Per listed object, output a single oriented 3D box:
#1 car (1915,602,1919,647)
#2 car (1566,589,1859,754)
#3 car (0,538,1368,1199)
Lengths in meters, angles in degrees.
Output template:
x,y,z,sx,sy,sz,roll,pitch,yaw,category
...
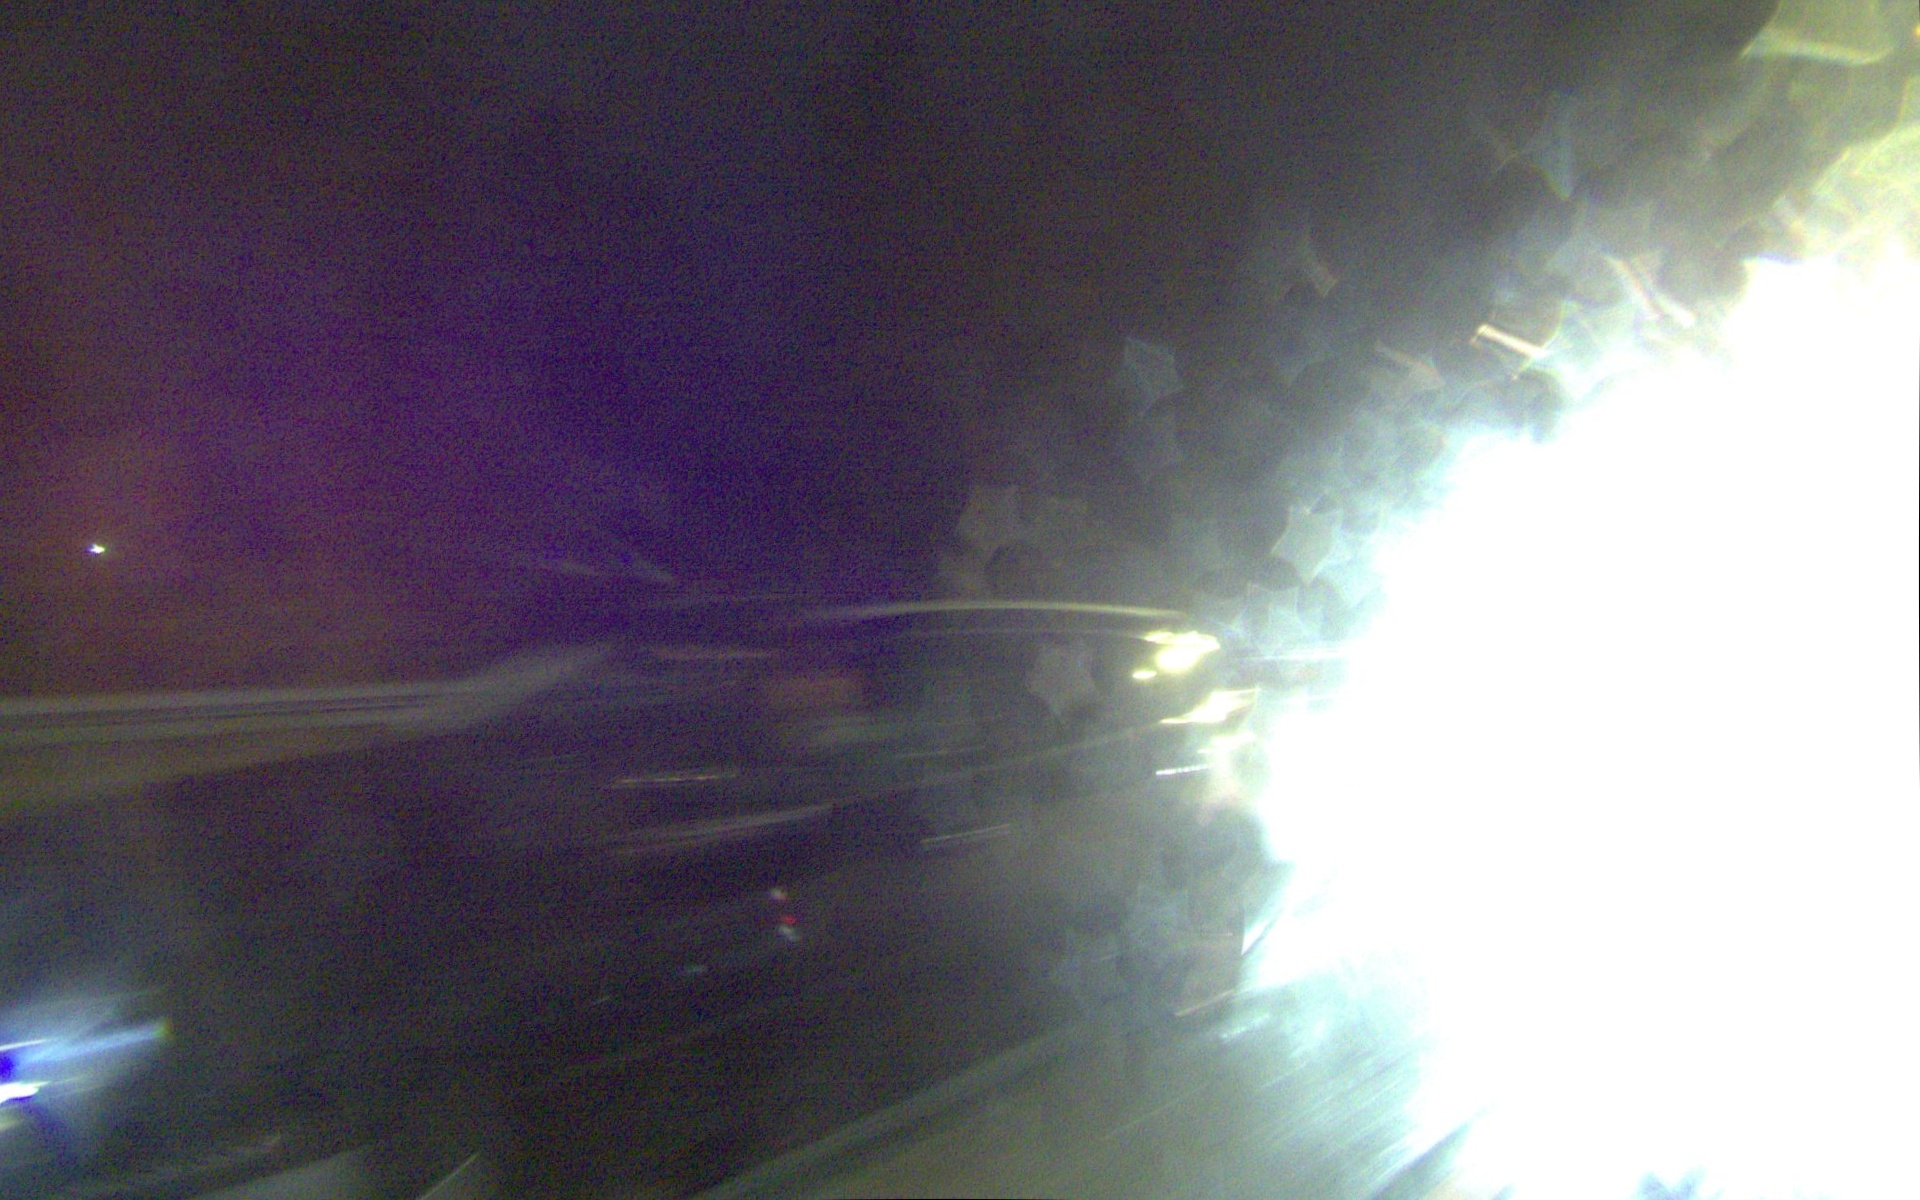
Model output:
x,y,z,sx,sy,sz,roll,pitch,yaw,category
33.939,0.856,34.279,3.931,1.482,1.997,1,1,-42,car
8.736,0.663,11.586,4.489,1.503,1.824,0,1,-42,car
-0.616,0.647,3.124,4.646,1.467,1.733,0,0,-44,car
